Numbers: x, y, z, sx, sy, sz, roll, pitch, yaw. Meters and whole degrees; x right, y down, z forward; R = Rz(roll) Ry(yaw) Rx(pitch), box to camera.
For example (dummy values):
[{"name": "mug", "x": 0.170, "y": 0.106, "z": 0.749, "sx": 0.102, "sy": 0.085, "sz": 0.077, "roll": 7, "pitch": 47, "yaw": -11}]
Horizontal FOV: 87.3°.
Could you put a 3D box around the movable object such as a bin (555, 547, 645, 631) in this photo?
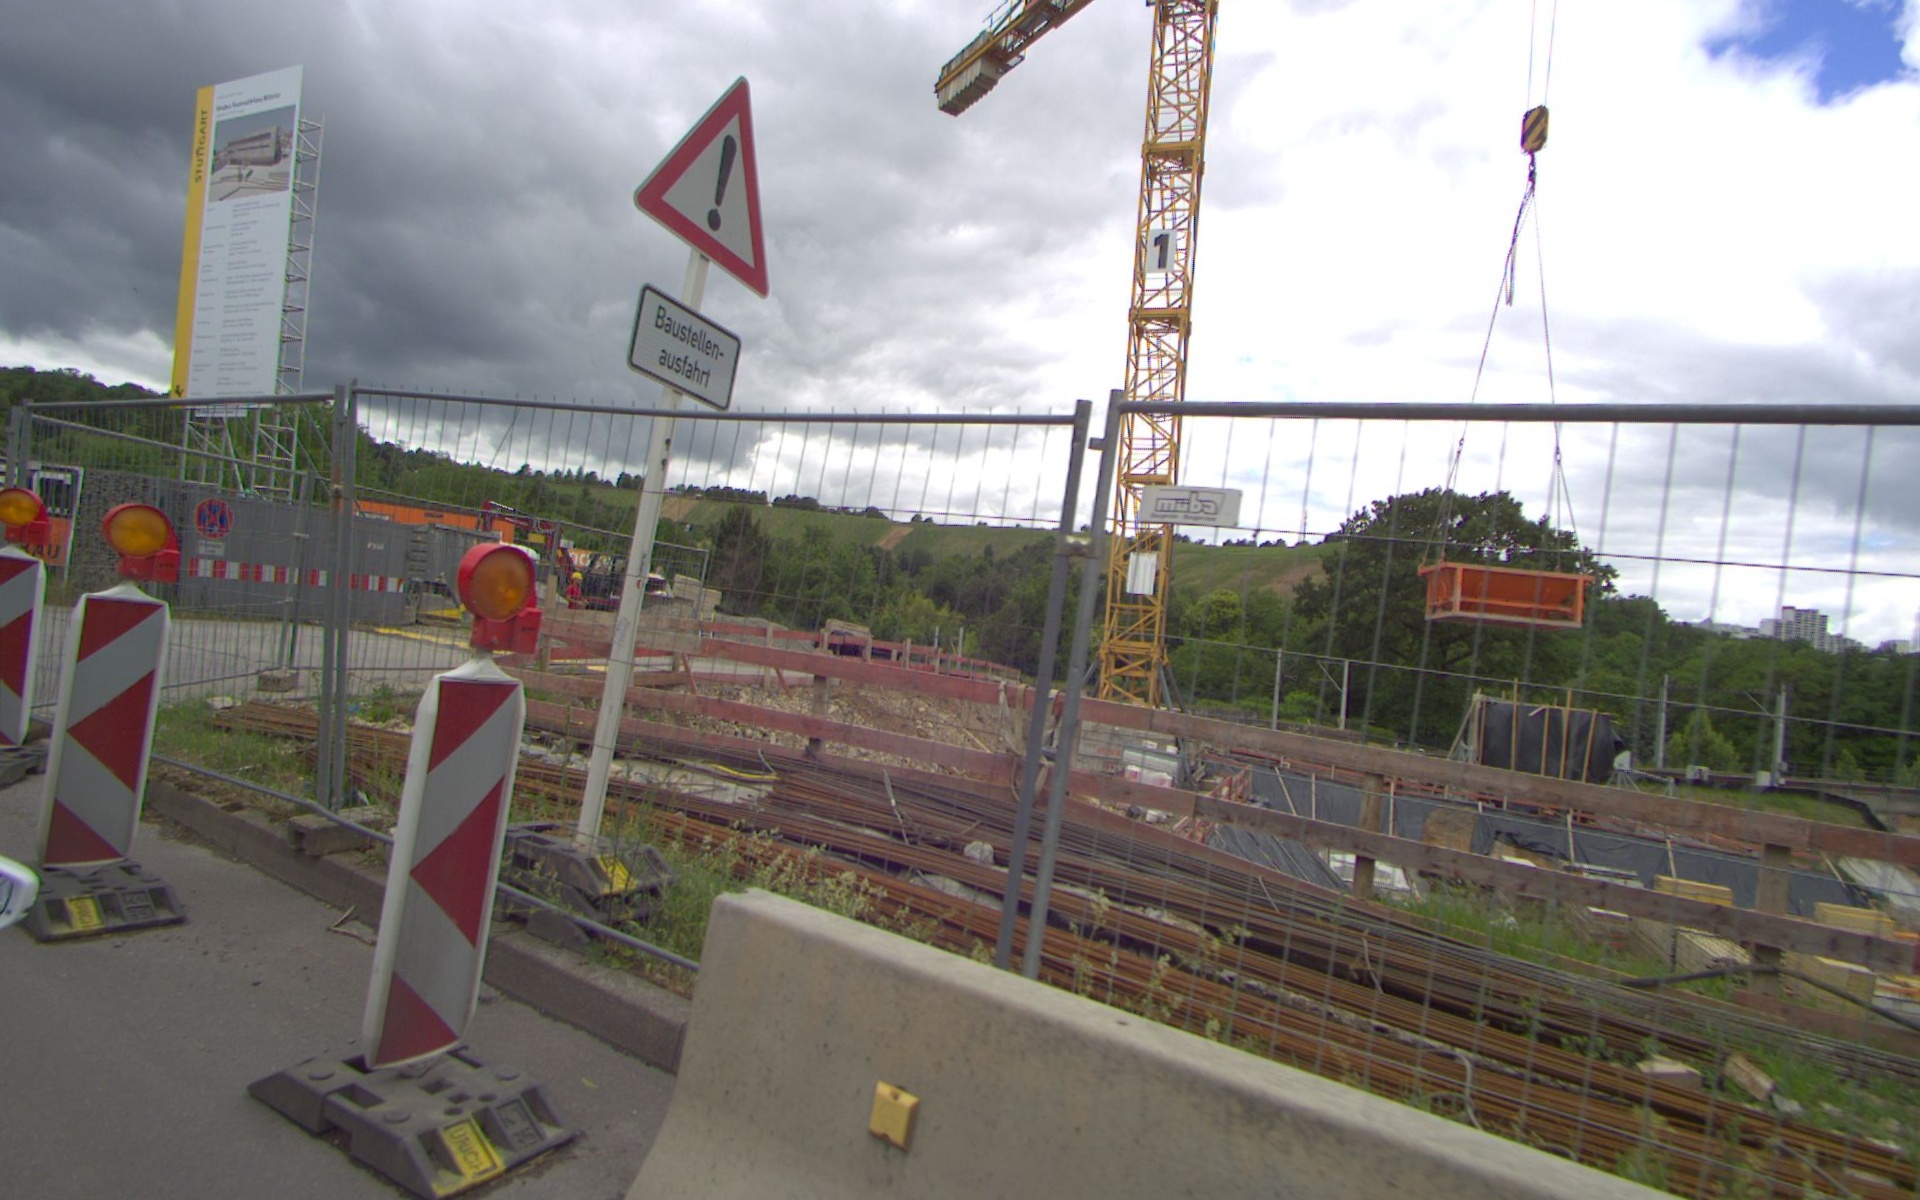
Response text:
[{"name": "movable object such as a bin", "x": -12.947, "y": -0.357, "z": 36.320, "sx": 2.703, "sy": 2.615, "sz": 1.994, "roll": 7, "pitch": -2, "yaw": -18}]

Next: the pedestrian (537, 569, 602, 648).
[{"name": "pedestrian", "x": -10.272, "y": 0.224, "z": 26.508, "sx": 1.134, "sy": 1.923, "sz": 0.827, "roll": 6, "pitch": -2, "yaw": 21}]
